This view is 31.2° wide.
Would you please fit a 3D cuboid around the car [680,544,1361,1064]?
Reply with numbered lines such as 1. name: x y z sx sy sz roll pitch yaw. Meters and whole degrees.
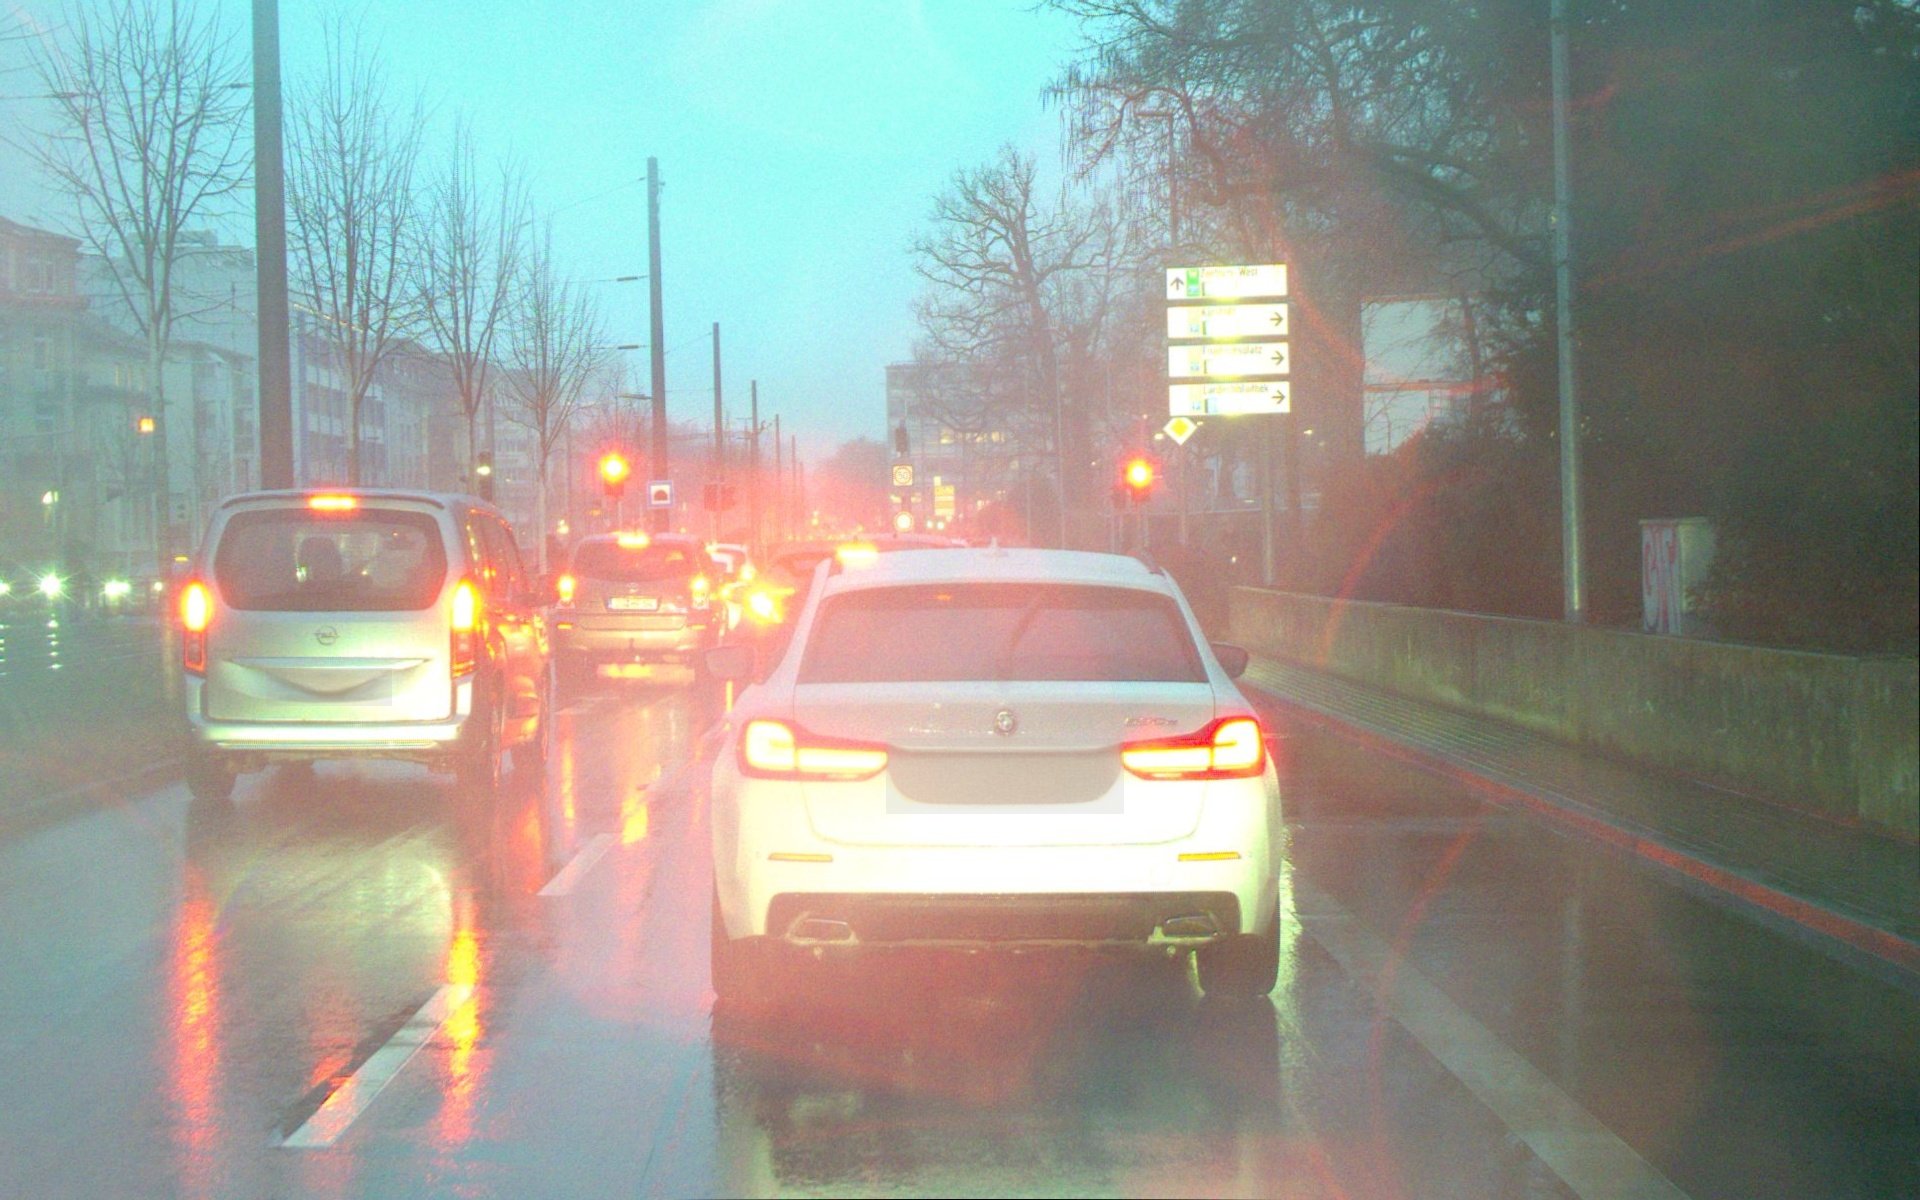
1. car: 0.152 0.566 12.194 1.999 1.503 4.164 0 1 -1

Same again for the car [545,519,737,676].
1. car: -3.476 -0.067 38.082 1.806 1.640 4.000 0 1 -1

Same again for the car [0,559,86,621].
1. car: -25.786 -0.291 95.784 1.895 1.628 4.581 -1 1 -3

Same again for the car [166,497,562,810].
1. car: -3.560 0.269 21.307 1.793 1.730 4.538 0 1 -2

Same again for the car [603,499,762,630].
1. car: -3.850 -0.505 48.274 1.993 1.749 4.000 0 1 -1

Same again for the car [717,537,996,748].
1. car: -0.745 0.255 26.033 1.936 1.452 4.164 0 1 -1
